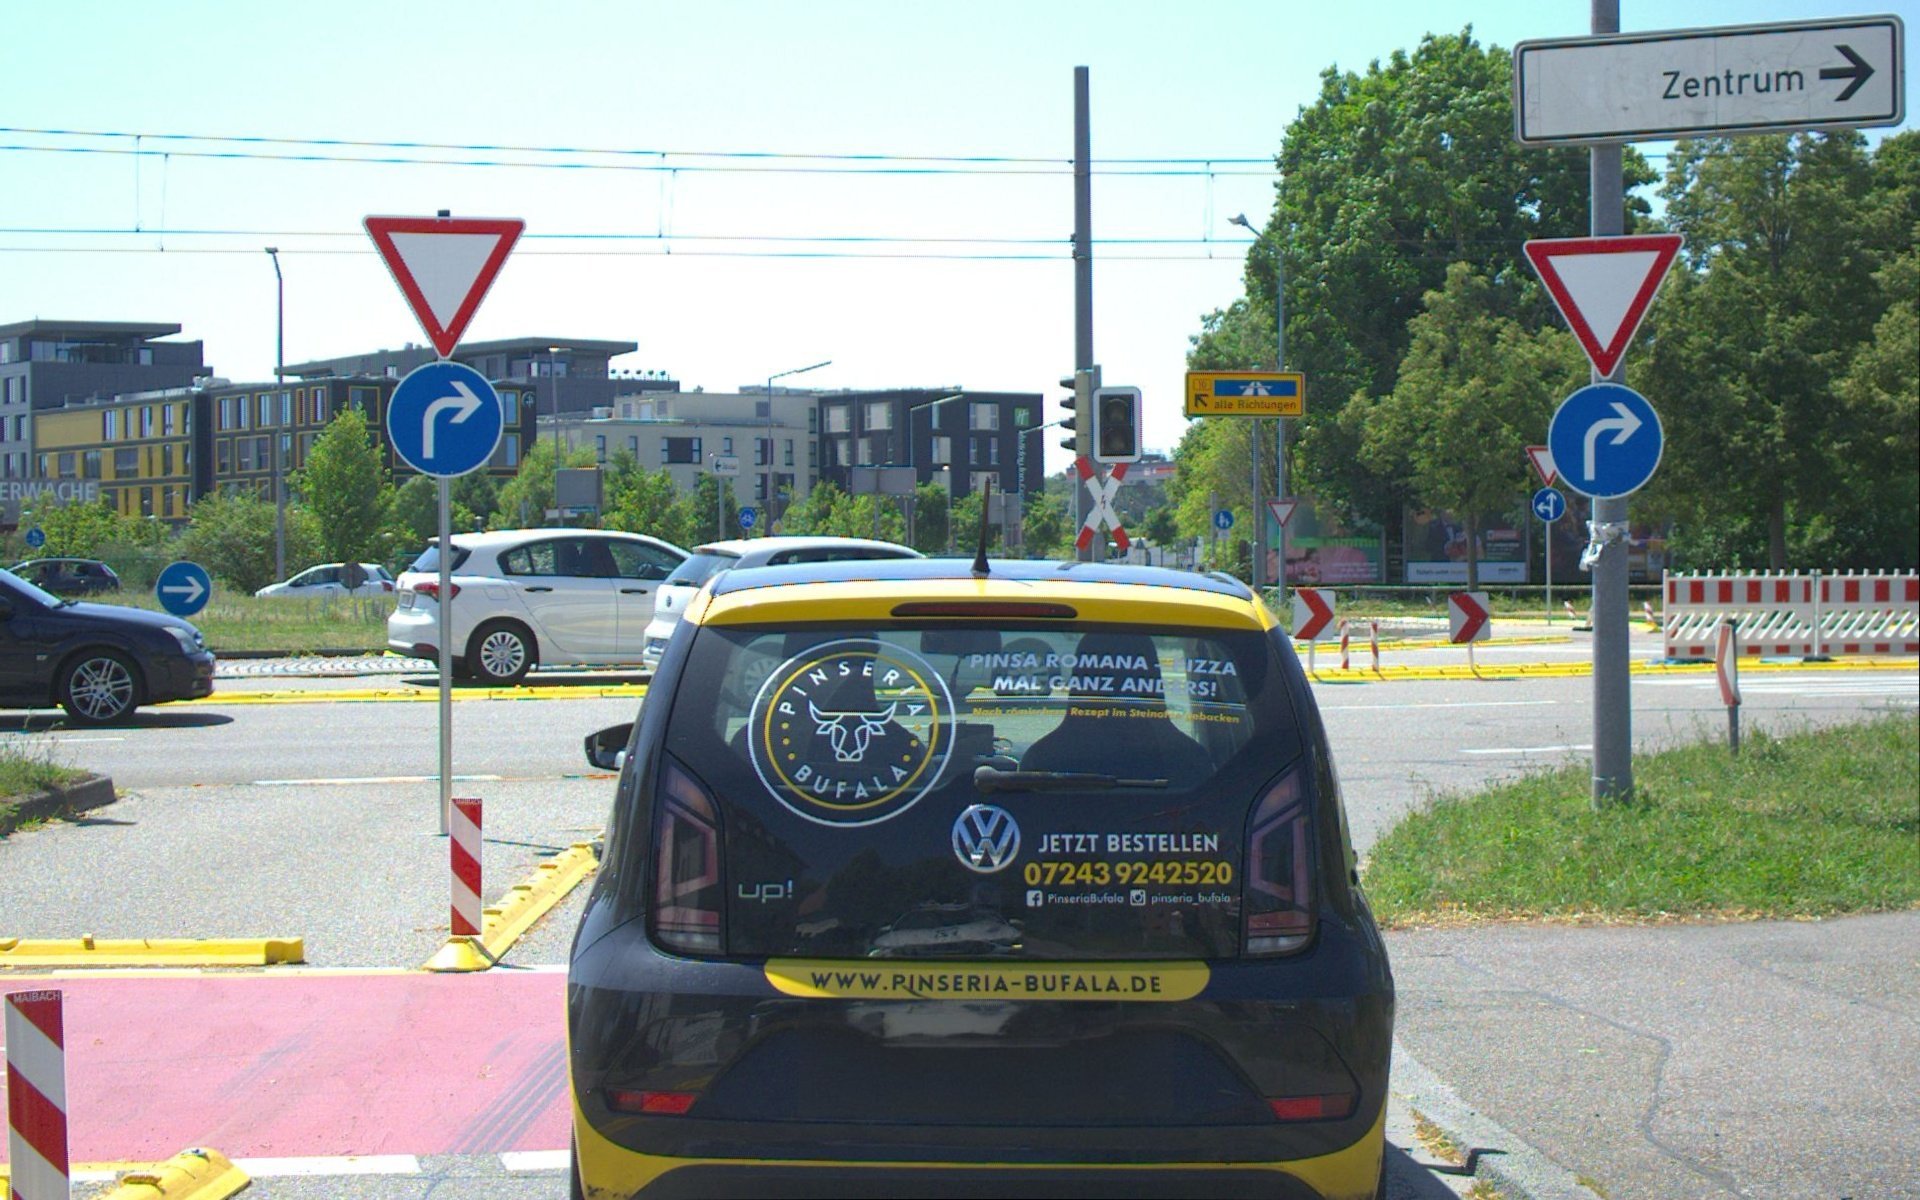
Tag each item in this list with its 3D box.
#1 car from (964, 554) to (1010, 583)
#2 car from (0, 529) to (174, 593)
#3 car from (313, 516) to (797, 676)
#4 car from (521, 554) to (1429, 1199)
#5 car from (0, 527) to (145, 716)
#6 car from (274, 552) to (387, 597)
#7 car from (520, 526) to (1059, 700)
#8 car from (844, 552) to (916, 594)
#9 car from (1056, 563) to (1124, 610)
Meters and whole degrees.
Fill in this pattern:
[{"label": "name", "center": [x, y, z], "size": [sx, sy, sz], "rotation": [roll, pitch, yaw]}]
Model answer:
[{"label": "car", "center": [1.029, -1.193, 129.504], "size": [1.493, 1.086, 3.520], "rotation": [0, 1, 4]}, {"label": "car", "center": [-20.391, -0.911, 79.949], "size": [4.034, 1.456, 1.730], "rotation": [0, 1, -16]}, {"label": "car", "center": [-3.990, -0.067, 33.814], "size": [4.351, 1.481, 2.001], "rotation": [-1, 1, -22]}, {"label": "car", "center": [-0.013, 0.629, 8.185], "size": [1.618, 1.446, 3.987], "rotation": [1, 1, -1]}, {"label": "car", "center": [-8.963, 0.176, 27.271], "size": [4.741, 1.444, 2.001], "rotation": [-1, 1, -10]}, {"label": "car", "center": [-16.516, -0.675, 90.191], "size": [2.885, 1.151, 1.205], "rotation": [0, 1, -11]}, {"label": "car", "center": [-1.496, 0.109, 30.239], "size": [4.336, 1.444, 1.857], "rotation": [1, 1, -24]}, {"label": "car", "center": [-2.583, -0.894, 111.824], "size": [1.769, 1.340, 3.320], "rotation": [0, 1, 9]}, {"label": "car", "center": [3.835, -0.405, 100.943], "size": [1.659, 1.368, 3.031], "rotation": [0, 1, 8]}]
